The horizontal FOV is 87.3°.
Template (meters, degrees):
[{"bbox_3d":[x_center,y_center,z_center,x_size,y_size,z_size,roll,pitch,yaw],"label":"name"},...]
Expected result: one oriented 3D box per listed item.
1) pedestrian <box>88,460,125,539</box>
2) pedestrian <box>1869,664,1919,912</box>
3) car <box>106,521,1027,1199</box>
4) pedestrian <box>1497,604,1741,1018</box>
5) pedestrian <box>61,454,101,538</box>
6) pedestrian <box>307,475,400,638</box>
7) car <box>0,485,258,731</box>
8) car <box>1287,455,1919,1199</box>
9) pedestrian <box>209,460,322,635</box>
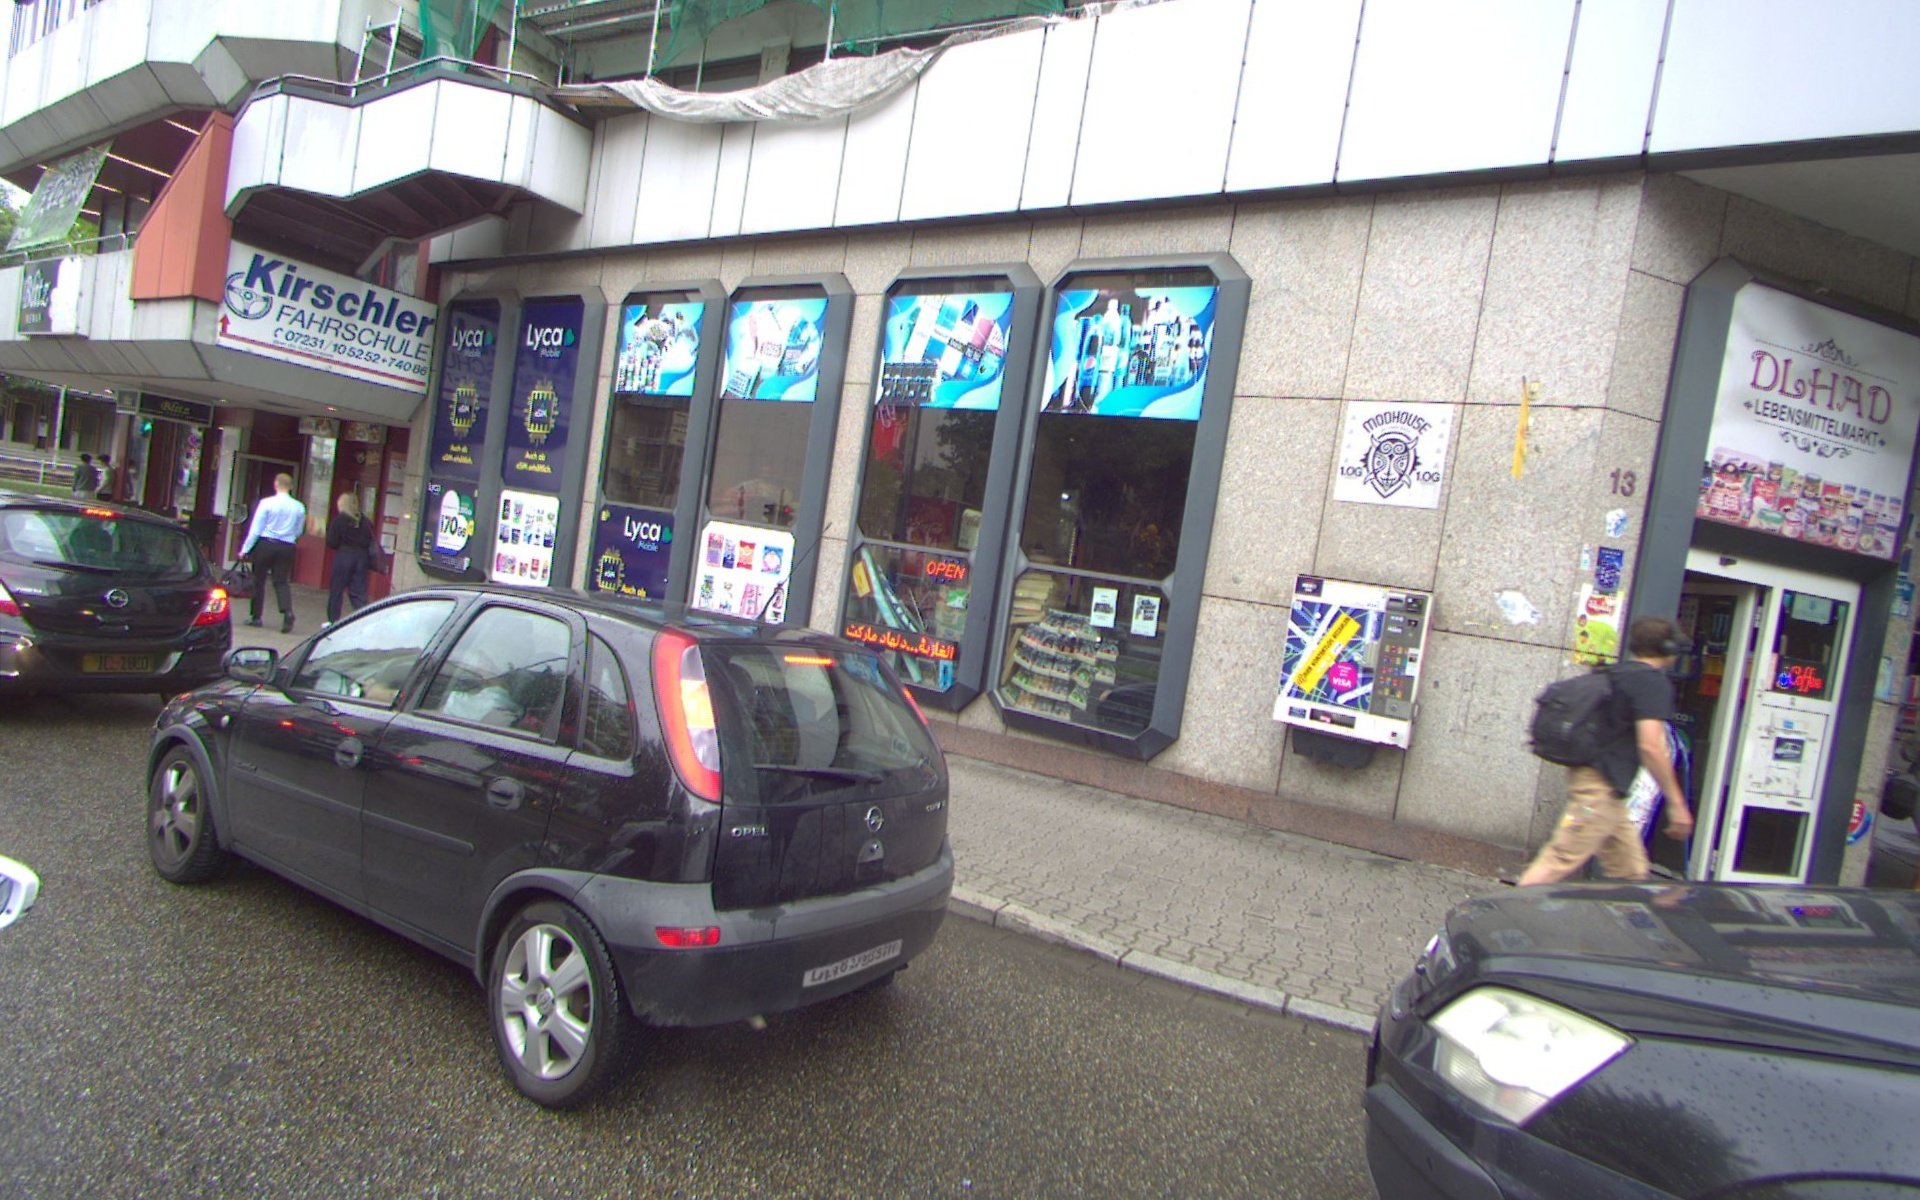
[{"bbox_3d":[-18.684,-2.196,22.012,0.496,1.660,0.396,6,1,32],"label":"pedestrian"},{"bbox_3d":[7.665,1.461,7.797,0.733,1.841,0.769,6,4,40],"label":"pedestrian"},{"bbox_3d":[-1.746,0.648,4.115,3.563,1.446,1.609,8,-1,33],"label":"car"},{"bbox_3d":[3.326,0.977,5.086,0.763,1.841,0.739,7,4,43],"label":"pedestrian"},{"bbox_3d":[-18.629,-2.204,21.331,0.443,1.704,0.426,6,1,30],"label":"pedestrian"},{"bbox_3d":[-7.603,-0.534,12.622,0.629,1.961,0.736,6,4,31],"label":"pedestrian"},{"bbox_3d":[-7.102,-0.112,7.357,3.776,1.446,1.620,8,-1,29],"label":"car"},{"bbox_3d":[2.810,0.942,1.434,4.095,1.786,1.763,8,-1,32],"label":"car"},{"bbox_3d":[-8.252,-0.614,11.965,0.629,1.957,0.737,6,-1,31],"label":"pedestrian"}]
